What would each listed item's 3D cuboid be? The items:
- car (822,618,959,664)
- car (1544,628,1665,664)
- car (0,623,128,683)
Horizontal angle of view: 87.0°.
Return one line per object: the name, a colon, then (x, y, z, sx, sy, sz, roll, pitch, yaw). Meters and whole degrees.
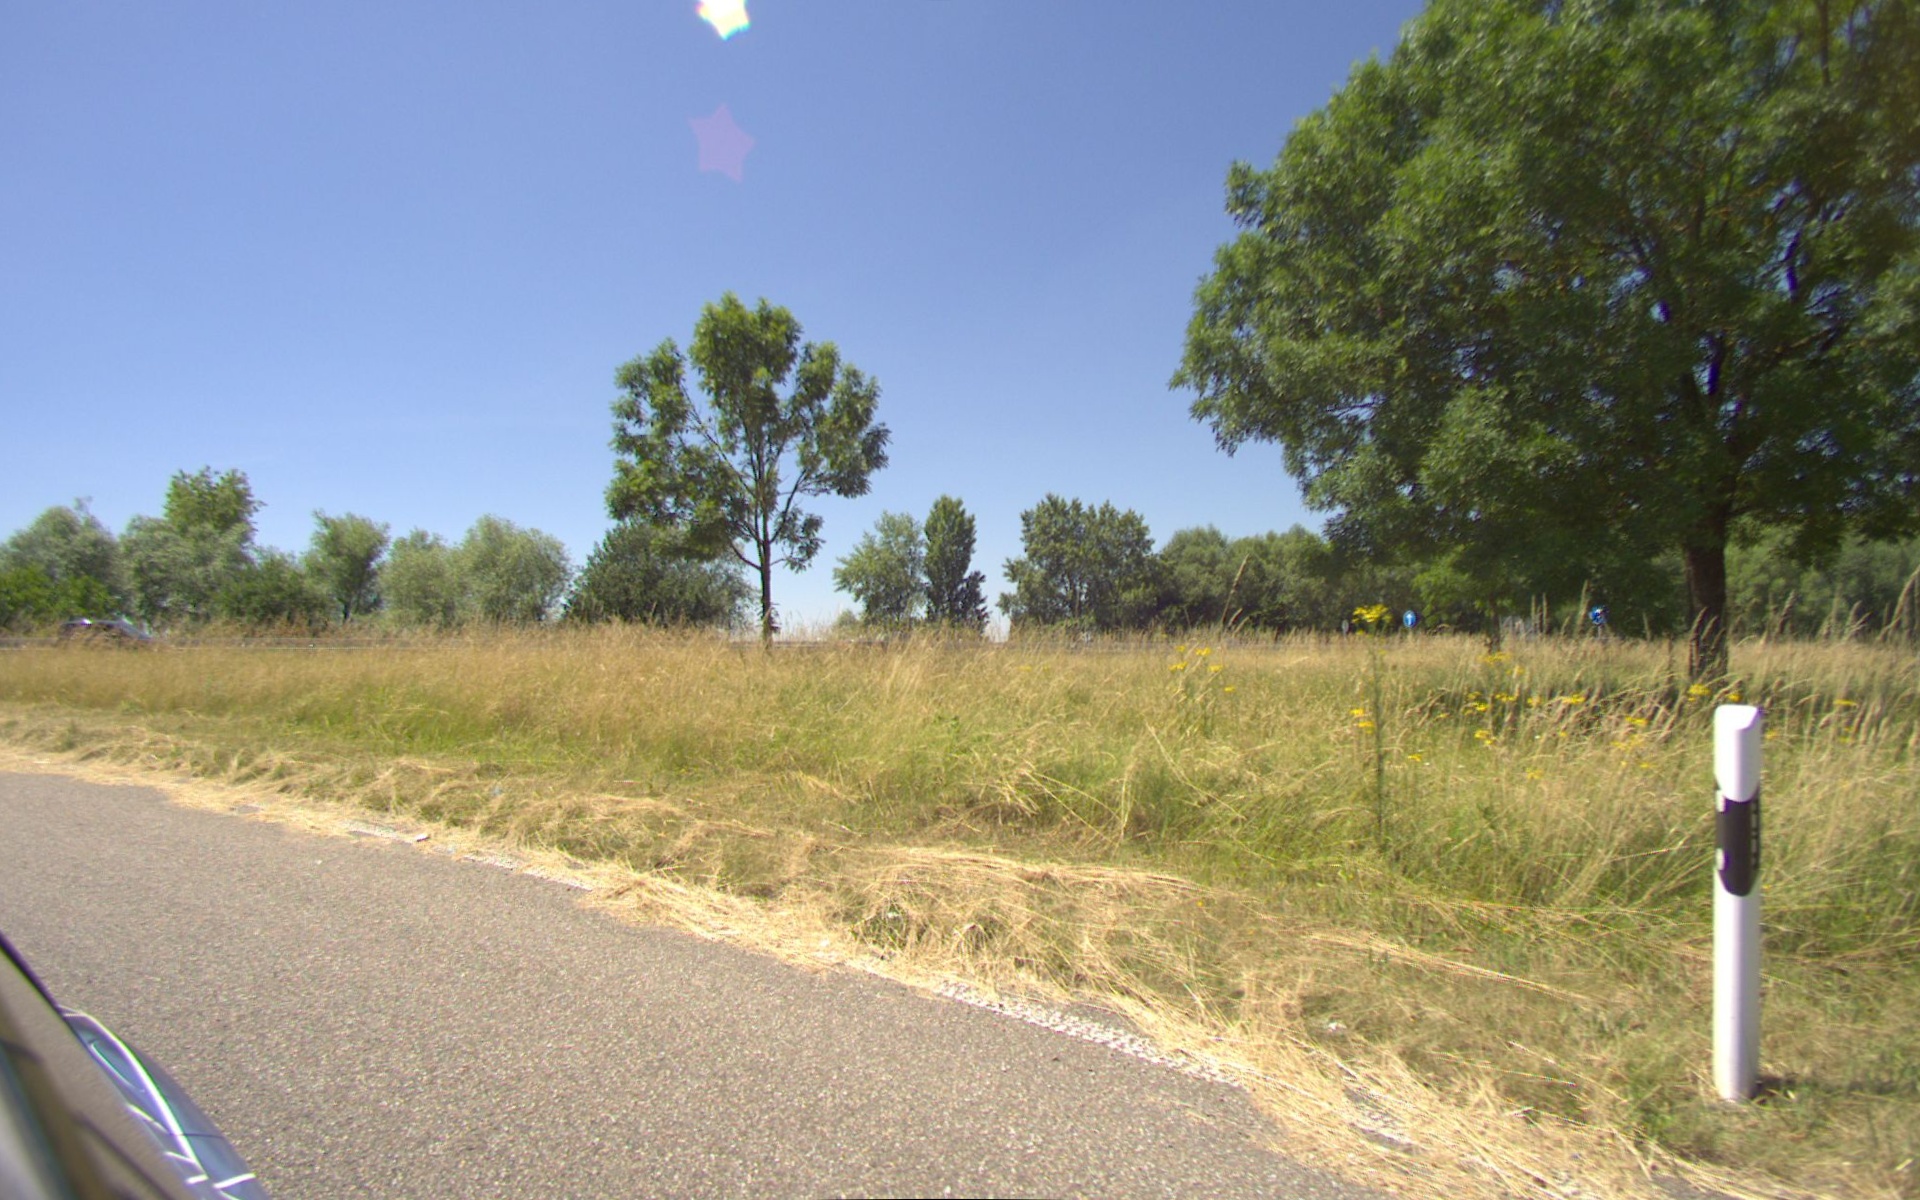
car: (-2.525, 1.473, 36.824, 4.563, 1.585, 2.006, 1, -2, -21)
car: (28.315, 2.011, 44.482, 4.917, 1.492, 1.897, 1, -3, -21)
car: (-26.509, 1.484, 28.842, 3.930, 1.623, 1.837, 0, -1, -21)
